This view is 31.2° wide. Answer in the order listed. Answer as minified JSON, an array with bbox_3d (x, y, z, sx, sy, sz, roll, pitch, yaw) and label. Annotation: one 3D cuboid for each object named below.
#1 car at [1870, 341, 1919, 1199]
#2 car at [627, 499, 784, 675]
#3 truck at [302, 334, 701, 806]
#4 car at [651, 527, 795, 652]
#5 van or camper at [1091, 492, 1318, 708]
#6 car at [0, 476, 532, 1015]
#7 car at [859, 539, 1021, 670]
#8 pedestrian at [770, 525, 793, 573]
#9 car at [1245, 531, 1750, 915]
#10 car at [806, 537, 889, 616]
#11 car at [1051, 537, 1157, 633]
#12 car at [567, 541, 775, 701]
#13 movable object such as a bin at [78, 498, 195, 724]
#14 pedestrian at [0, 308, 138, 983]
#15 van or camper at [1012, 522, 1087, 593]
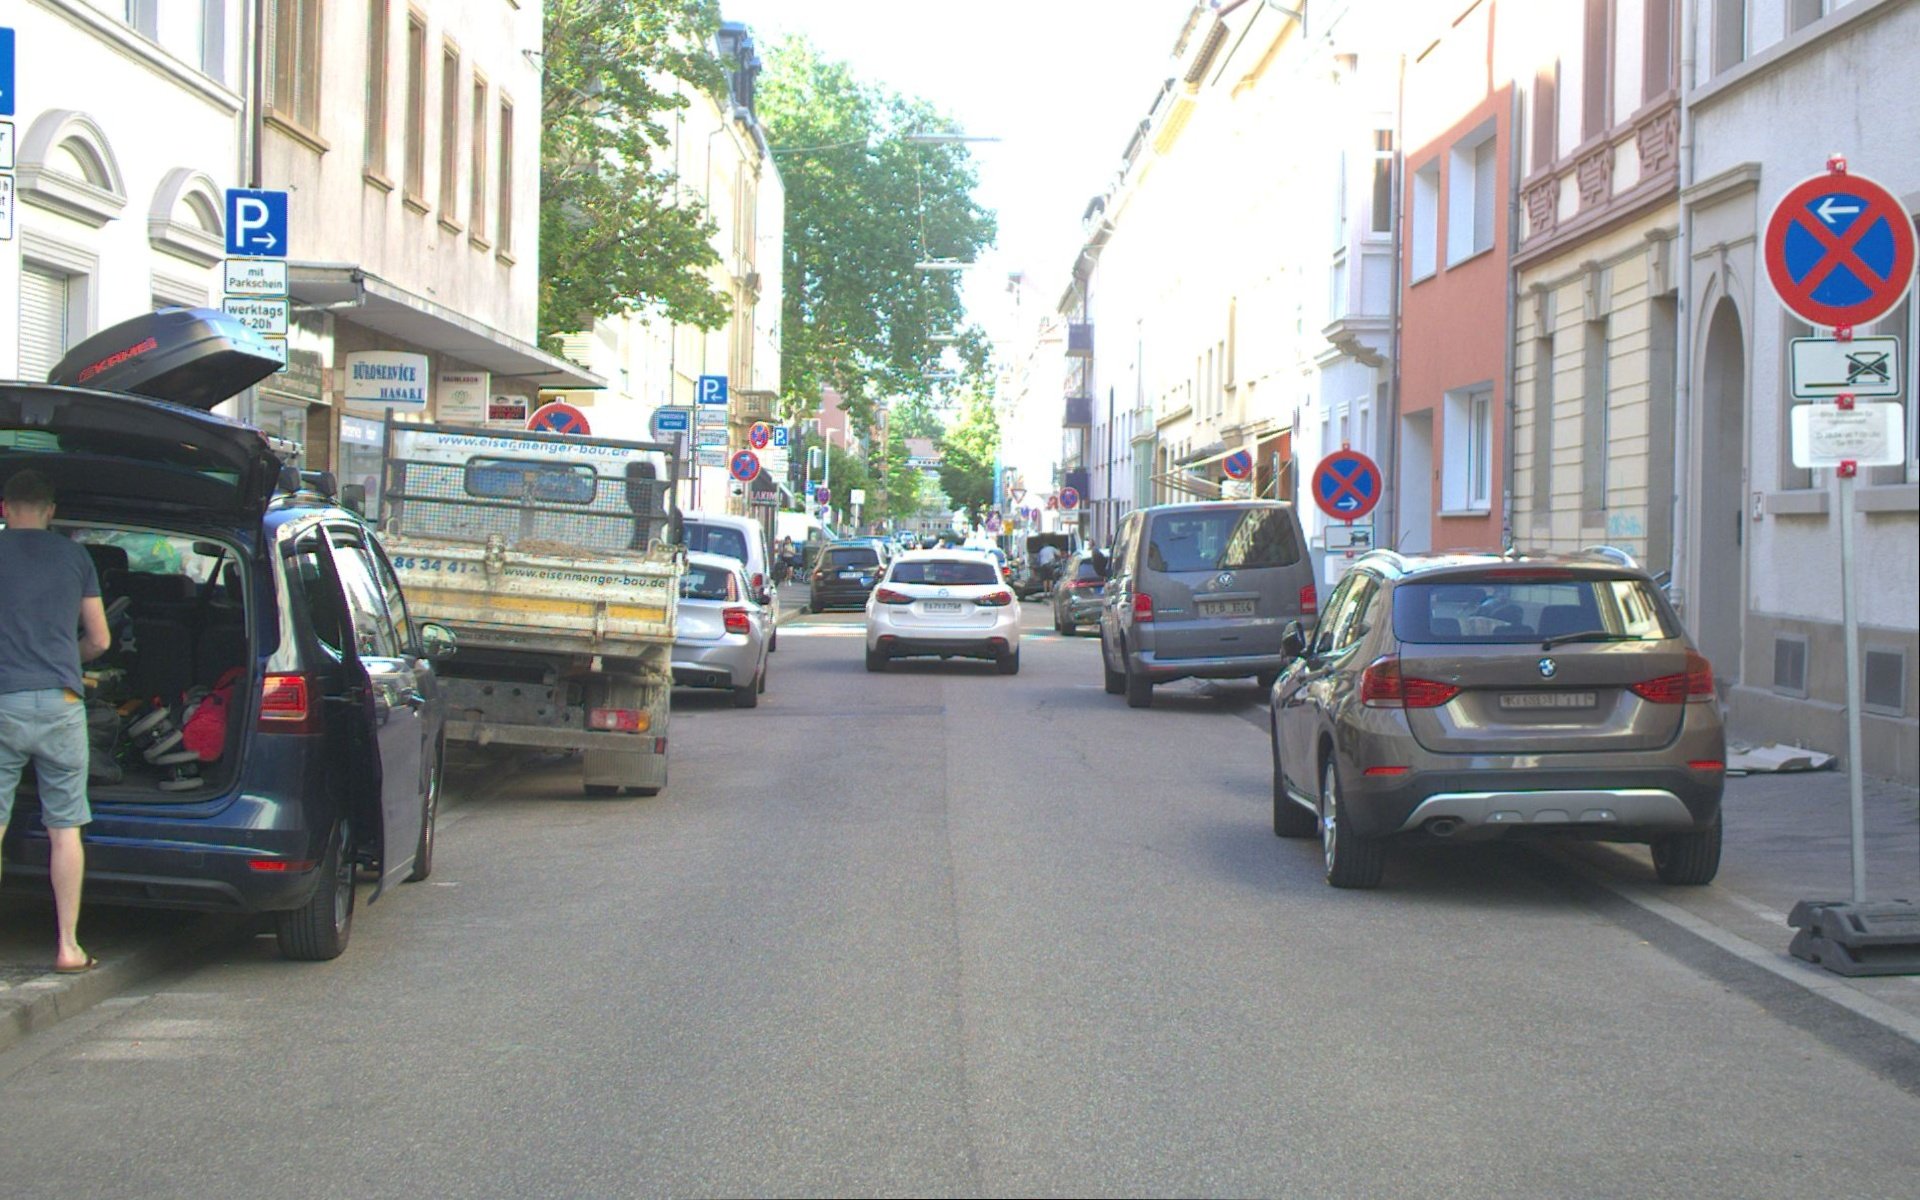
[{"bbox_3d":[2.660,0.558,4.285,1.782,1.955,4.336,1,1,-1],"label":"car"},{"bbox_3d":[-2.845,-0.180,39.051,1.647,1.861,4.001,1,1,-3],"label":"car"},{"bbox_3d":[-2.794,-0.165,22.109,2.156,2.581,6.250,1,0,-5],"label":"truck"},{"bbox_3d":[-3.149,-0.177,46.232,1.647,1.571,3.679,1,1,0],"label":"car"},{"bbox_3d":[2.402,-0.040,34.799,1.775,2.029,4.571,0,1,-2],"label":"van or camper"},{"bbox_3d":[-3.258,0.389,13.640,2.441,1.700,5.243,2,1,0],"label":"car"},{"bbox_3d":[-0.205,0.015,41.744,1.834,1.481,4.057,1,1,1],"label":"car"},{"bbox_3d":[-5.401,-1.545,104.093,0.627,1.459,0.575,1,0,0],"label":"pedestrian"},{"bbox_3d":[2.500,0.490,17.019,1.739,1.571,4.378,1,2,-1],"label":"car"},{"bbox_3d":[-2.421,-0.532,74.404,1.625,1.591,3.580,2,1,0],"label":"car"},{"bbox_3d":[2.453,-0.283,59.362,1.647,1.571,3.679,1,1,0],"label":"car"},{"bbox_3d":[-2.730,0.159,33.203,1.758,1.411,4.001,-1,1,-2],"label":"car"},{"bbox_3d":[-5.664,0.070,23.666,0.639,1.527,0.587,1,1,0],"label":"movable object such as a bin"},{"bbox_3d":[-3.199,0.148,11.672,0.619,2.221,0.688,1,0,0],"label":"pedestrian"},{"bbox_3d":[2.512,-1.177,97.092,1.993,1.919,4.000,1,0,0],"label":"van or camper"}]
